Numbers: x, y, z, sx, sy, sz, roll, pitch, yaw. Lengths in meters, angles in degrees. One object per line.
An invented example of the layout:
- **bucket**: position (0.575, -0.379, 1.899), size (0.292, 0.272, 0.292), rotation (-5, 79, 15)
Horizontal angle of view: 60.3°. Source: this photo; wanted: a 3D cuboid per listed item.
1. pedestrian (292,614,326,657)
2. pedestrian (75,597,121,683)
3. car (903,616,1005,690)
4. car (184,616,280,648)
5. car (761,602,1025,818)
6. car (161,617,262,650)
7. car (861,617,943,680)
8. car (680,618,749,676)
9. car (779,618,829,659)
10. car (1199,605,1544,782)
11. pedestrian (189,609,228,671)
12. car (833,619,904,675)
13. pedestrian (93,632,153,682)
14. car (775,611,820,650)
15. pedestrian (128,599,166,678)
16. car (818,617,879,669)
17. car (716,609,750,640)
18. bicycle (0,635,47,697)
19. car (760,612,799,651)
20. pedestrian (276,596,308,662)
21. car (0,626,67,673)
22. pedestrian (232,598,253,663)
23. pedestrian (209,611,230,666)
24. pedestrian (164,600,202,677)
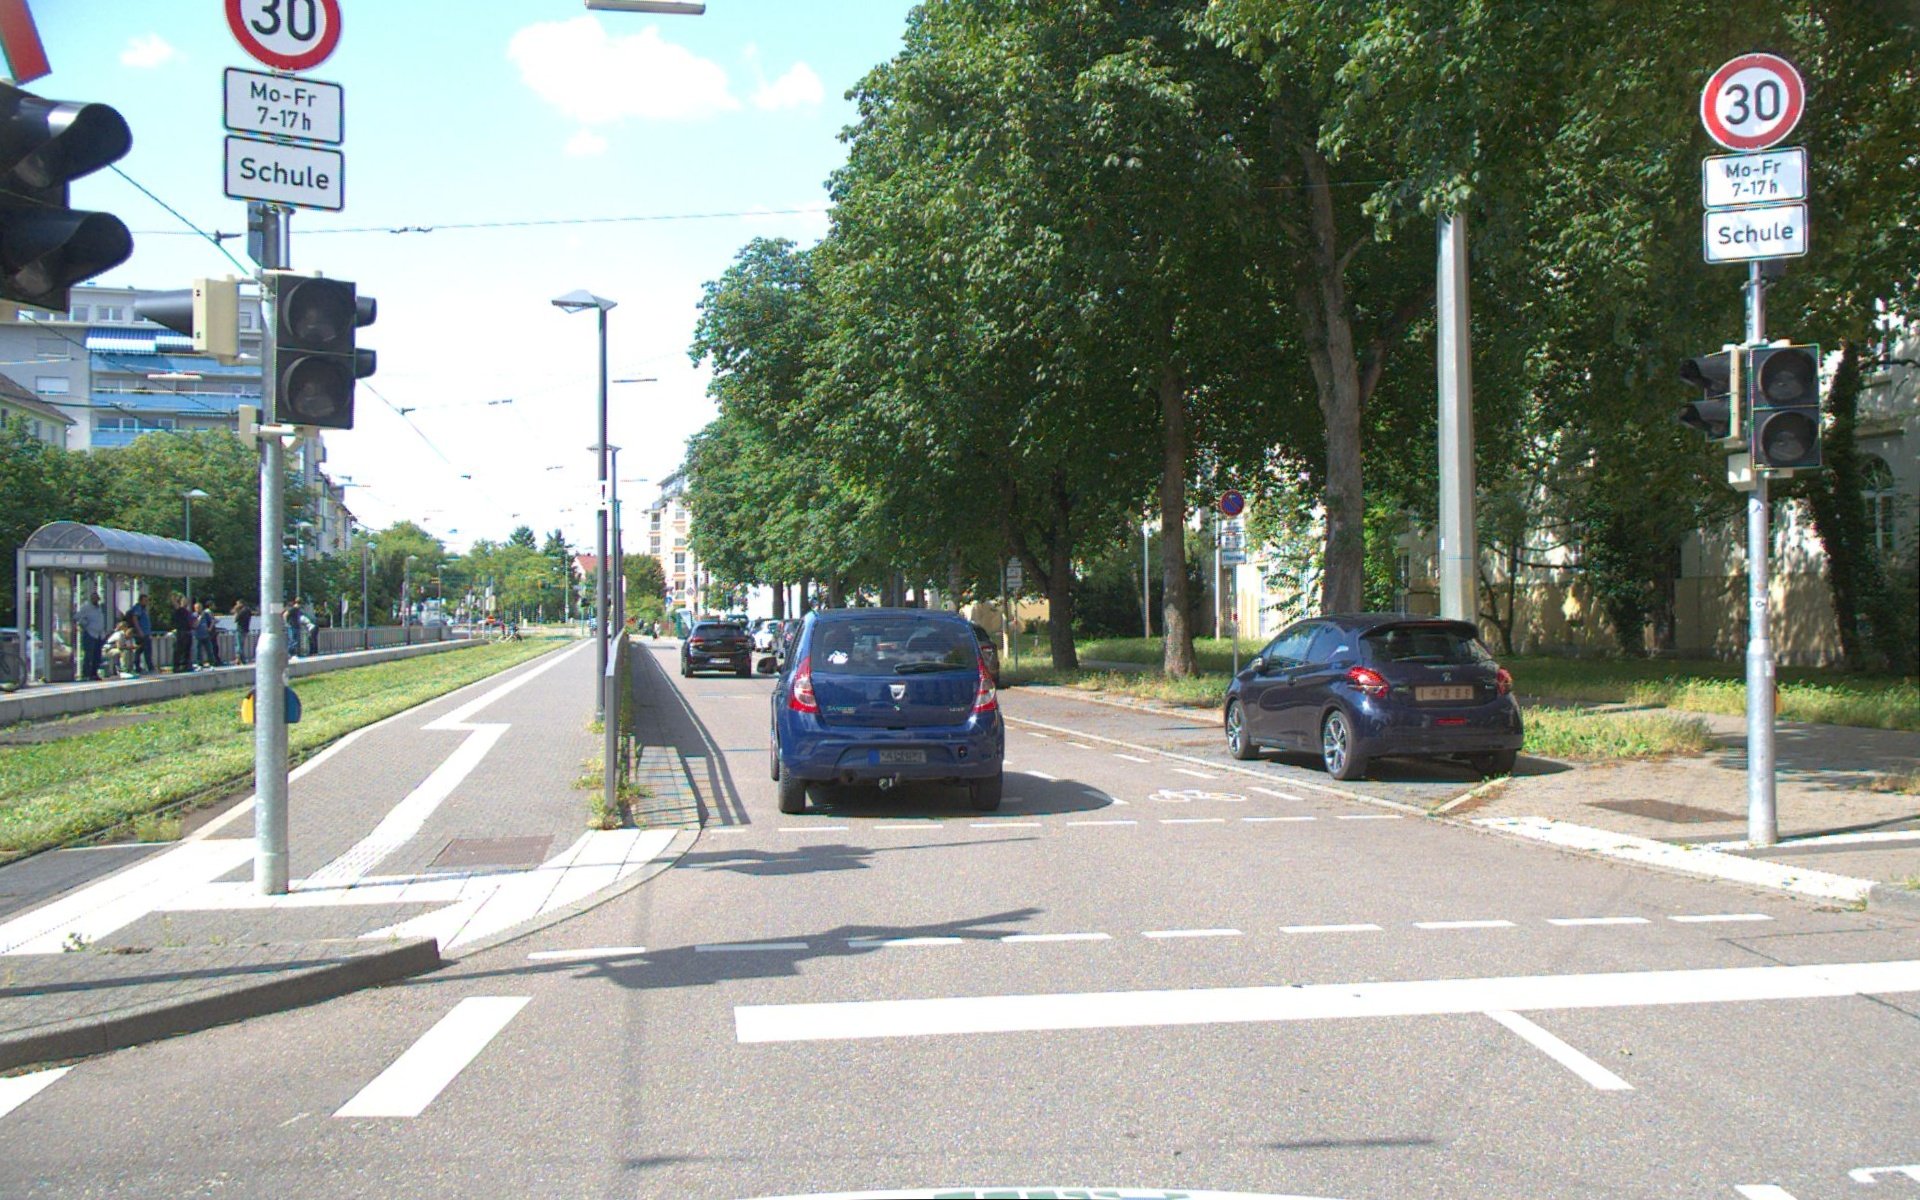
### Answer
- **pedestrian**: position (-23.047, 1.249, 58.554), size (1.016, 1.463, 0.697), rotation (-2, 0, -26)
- **pedestrian**: position (-17.628, 0.818, 33.823), size (0.643, 1.722, 0.655), rotation (-1, -1, -11)
- **car**: position (-0.186, 1.119, 36.372), size (1.825, 1.471, 3.995), rotation (-2, 0, -6)
- **car**: position (-35.534, 1.538, 80.738), size (1.699, 1.472, 3.972), rotation (-1, -1, 44)
- **car**: position (-0.684, 0.779, 13.493), size (1.735, 1.487, 3.767), rotation (0, 0, -9)
- **car**: position (-34.219, 1.513, 75.653), size (1.605, 1.410, 3.988), rotation (-1, -1, 33)
- **car**: position (-1.541, 1.205, 42.442), size (1.825, 1.471, 3.995), rotation (-2, 0, -6)
- **car**: position (-6.393, 1.201, 43.305), size (1.667, 1.392, 3.509), rotation (0, 0, -7)
- **car**: position (-6.117, 1.472, 64.815), size (1.825, 1.471, 3.995), rotation (-2, 0, -6)
- **car**: position (3.829, 0.814, 16.111), size (1.734, 1.458, 3.892), rotation (-1, 0, -12)
- **pedestrian**: position (-17.995, 0.960, 39.596), size (0.641, 1.451, 0.562), rotation (-2, -1, 26)
- **car**: position (-2.696, 1.318, 48.050), size (1.825, 1.471, 3.995), rotation (-2, 0, -6)
- **pedestrian**: position (-17.812, 1.213, 35.212), size (0.907, 1.006, 0.795), rotation (-2, -2, -9)
- **car**: position (-6.891, 1.287, 70.284), size (1.792, 1.564, 3.995), rotation (-1, 0, -6)
- **pedestrian**: position (-18.555, 0.881, 37.743), size (0.582, 1.766, 0.556), rotation (-1, -1, -6)
- **car**: position (-3.570, 1.333, 52.530), size (1.816, 1.542, 3.995), rotation (-1, -1, -6)
- **car**: position (-13.289, 1.418, 96.977), size (1.795, 1.792, 3.995), rotation (-1, -1, -6)
- **bicycle**: position (-15.913, 1.103, 27.318), size (0.672, 0.991, 1.770), rotation (-3, 0, -1)
- **car**: position (-8.618, 1.470, 78.759), size (1.588, 1.780, 3.990), rotation (-1, -1, -10)
- **pedestrian**: position (-20.863, 0.909, 51.683), size (0.786, 2.049, 0.661), rotation (0, -1, -9)
- **car**: position (-29.943, 1.556, 50.895), size (1.683, 1.391, 3.982), rotation (-2, -1, 38)
- **pedestrian**: position (-19.661, 0.837, 45.336), size (0.481, 1.742, 0.461), rotation (-1, -1, -21)
- **pedestrian**: position (-20.352, 1.056, 45.463), size (0.481, 1.477, 0.461), rotation (-1, -1, -21)
- **pedestrian**: position (-18.266, 0.898, 38.895), size (0.592, 1.797, 0.638), rotation (-1, -1, -2)
